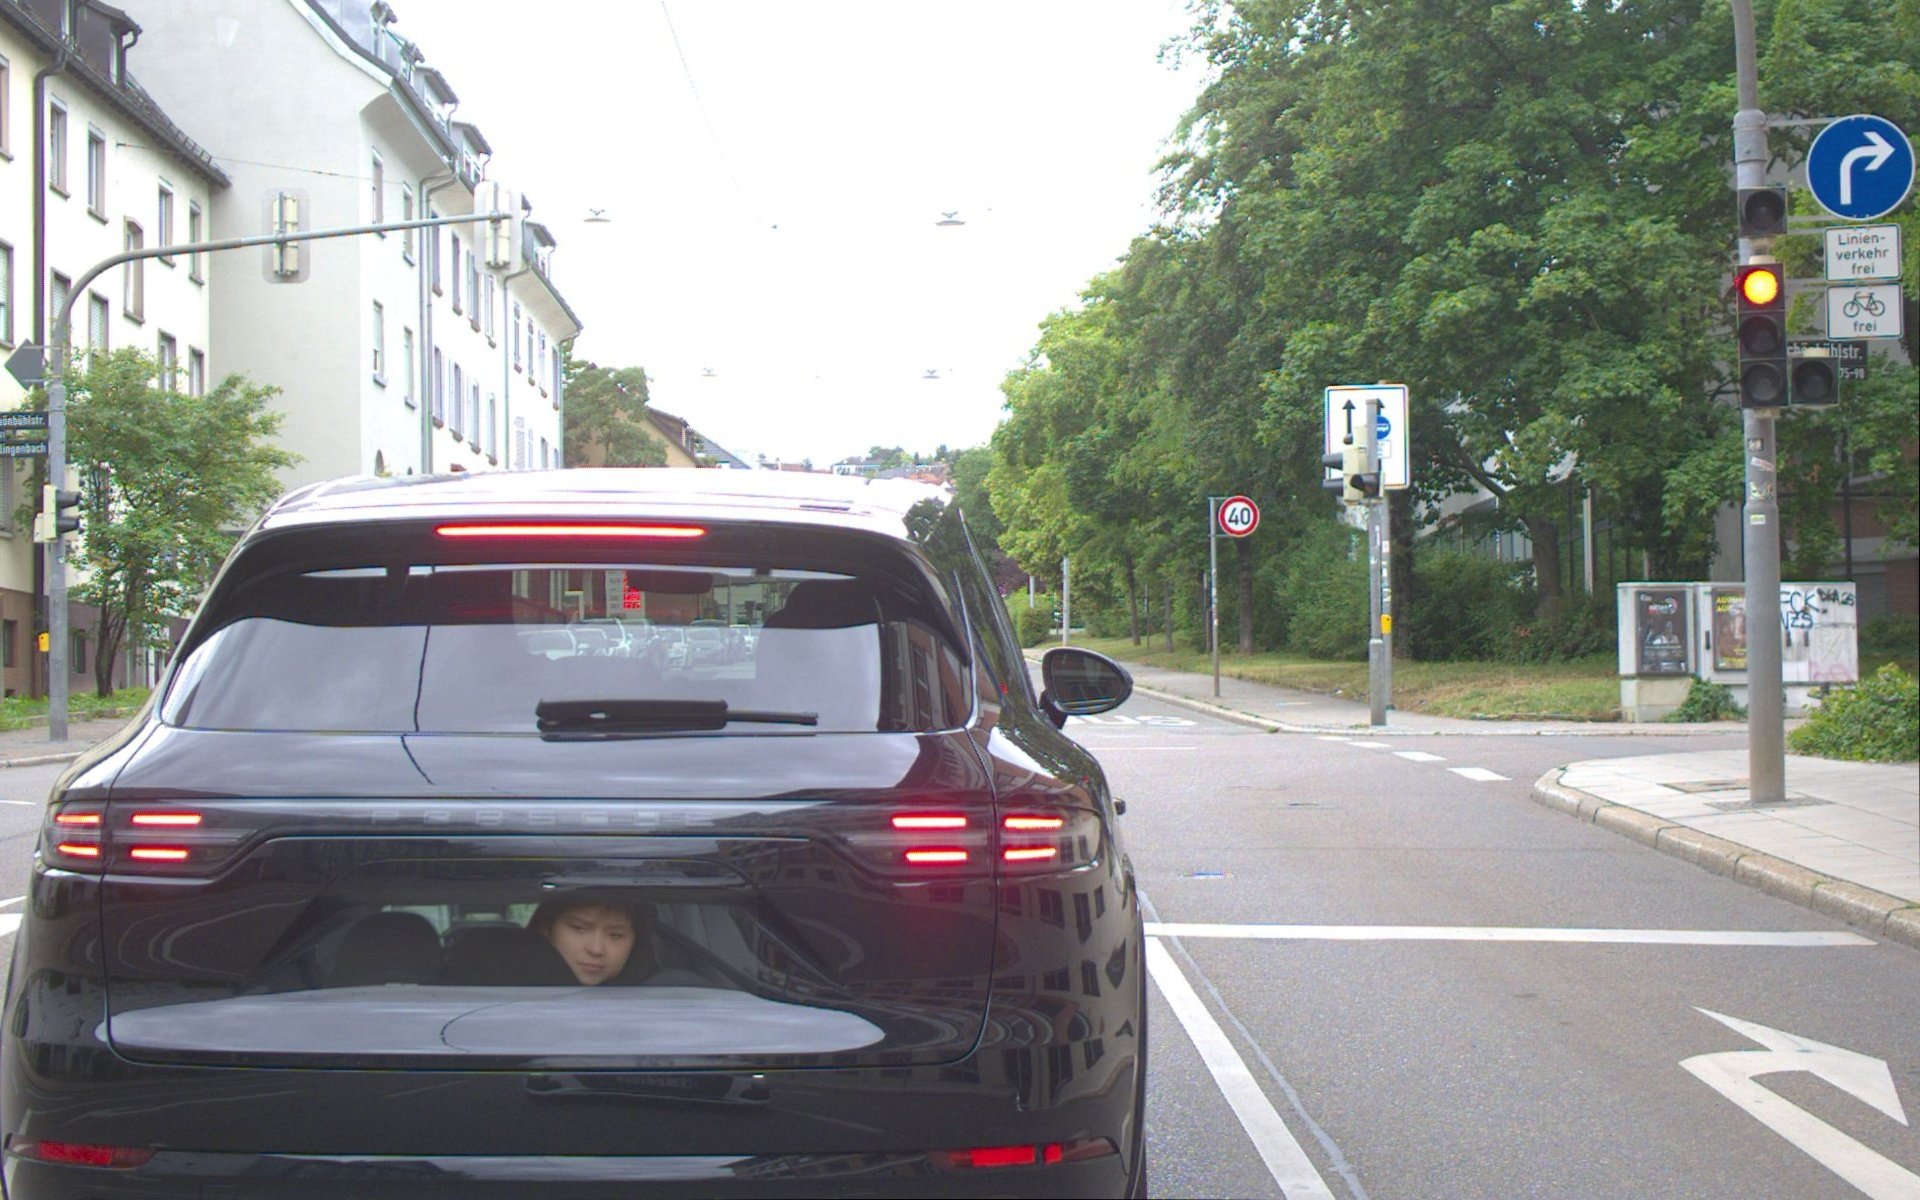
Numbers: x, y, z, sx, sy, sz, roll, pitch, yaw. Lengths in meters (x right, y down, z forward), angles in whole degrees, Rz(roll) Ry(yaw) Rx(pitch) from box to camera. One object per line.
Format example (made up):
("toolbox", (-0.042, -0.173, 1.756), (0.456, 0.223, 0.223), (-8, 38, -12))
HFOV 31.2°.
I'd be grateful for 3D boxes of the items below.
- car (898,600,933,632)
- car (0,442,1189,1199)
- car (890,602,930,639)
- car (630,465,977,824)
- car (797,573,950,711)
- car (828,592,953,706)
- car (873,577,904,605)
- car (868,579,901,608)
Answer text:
("car", (-2.364, 0.847, 182.486), (1.827, 1.599, 4.135), (1, 1, 0))
("car", (-0.709, 0.571, 7.251), (2.048, 1.660, 4.267), (1, 1, 0))
("car", (-2.358, 0.958, 163.310), (1.827, 1.599, 4.135), (1, 1, 0))
("car", (-0.915, 0.221, 21.898), (1.965, 2.035, 4.135), (1, 1, 0))
("car", (-1.061, 0.496, 43.823), (1.827, 1.599, 4.135), (1, 1, 0))
("car", (-1.035, 0.719, 52.541), (1.827, 1.599, 3.859), (1, 1, 0))
("car", (-4.358, -0.547, 210.272), (1.827, 1.599, 4.135), (1, 1, 0))
("car", (-4.457, -0.394, 202.946), (1.827, 1.599, 4.135), (1, 1, 0))
